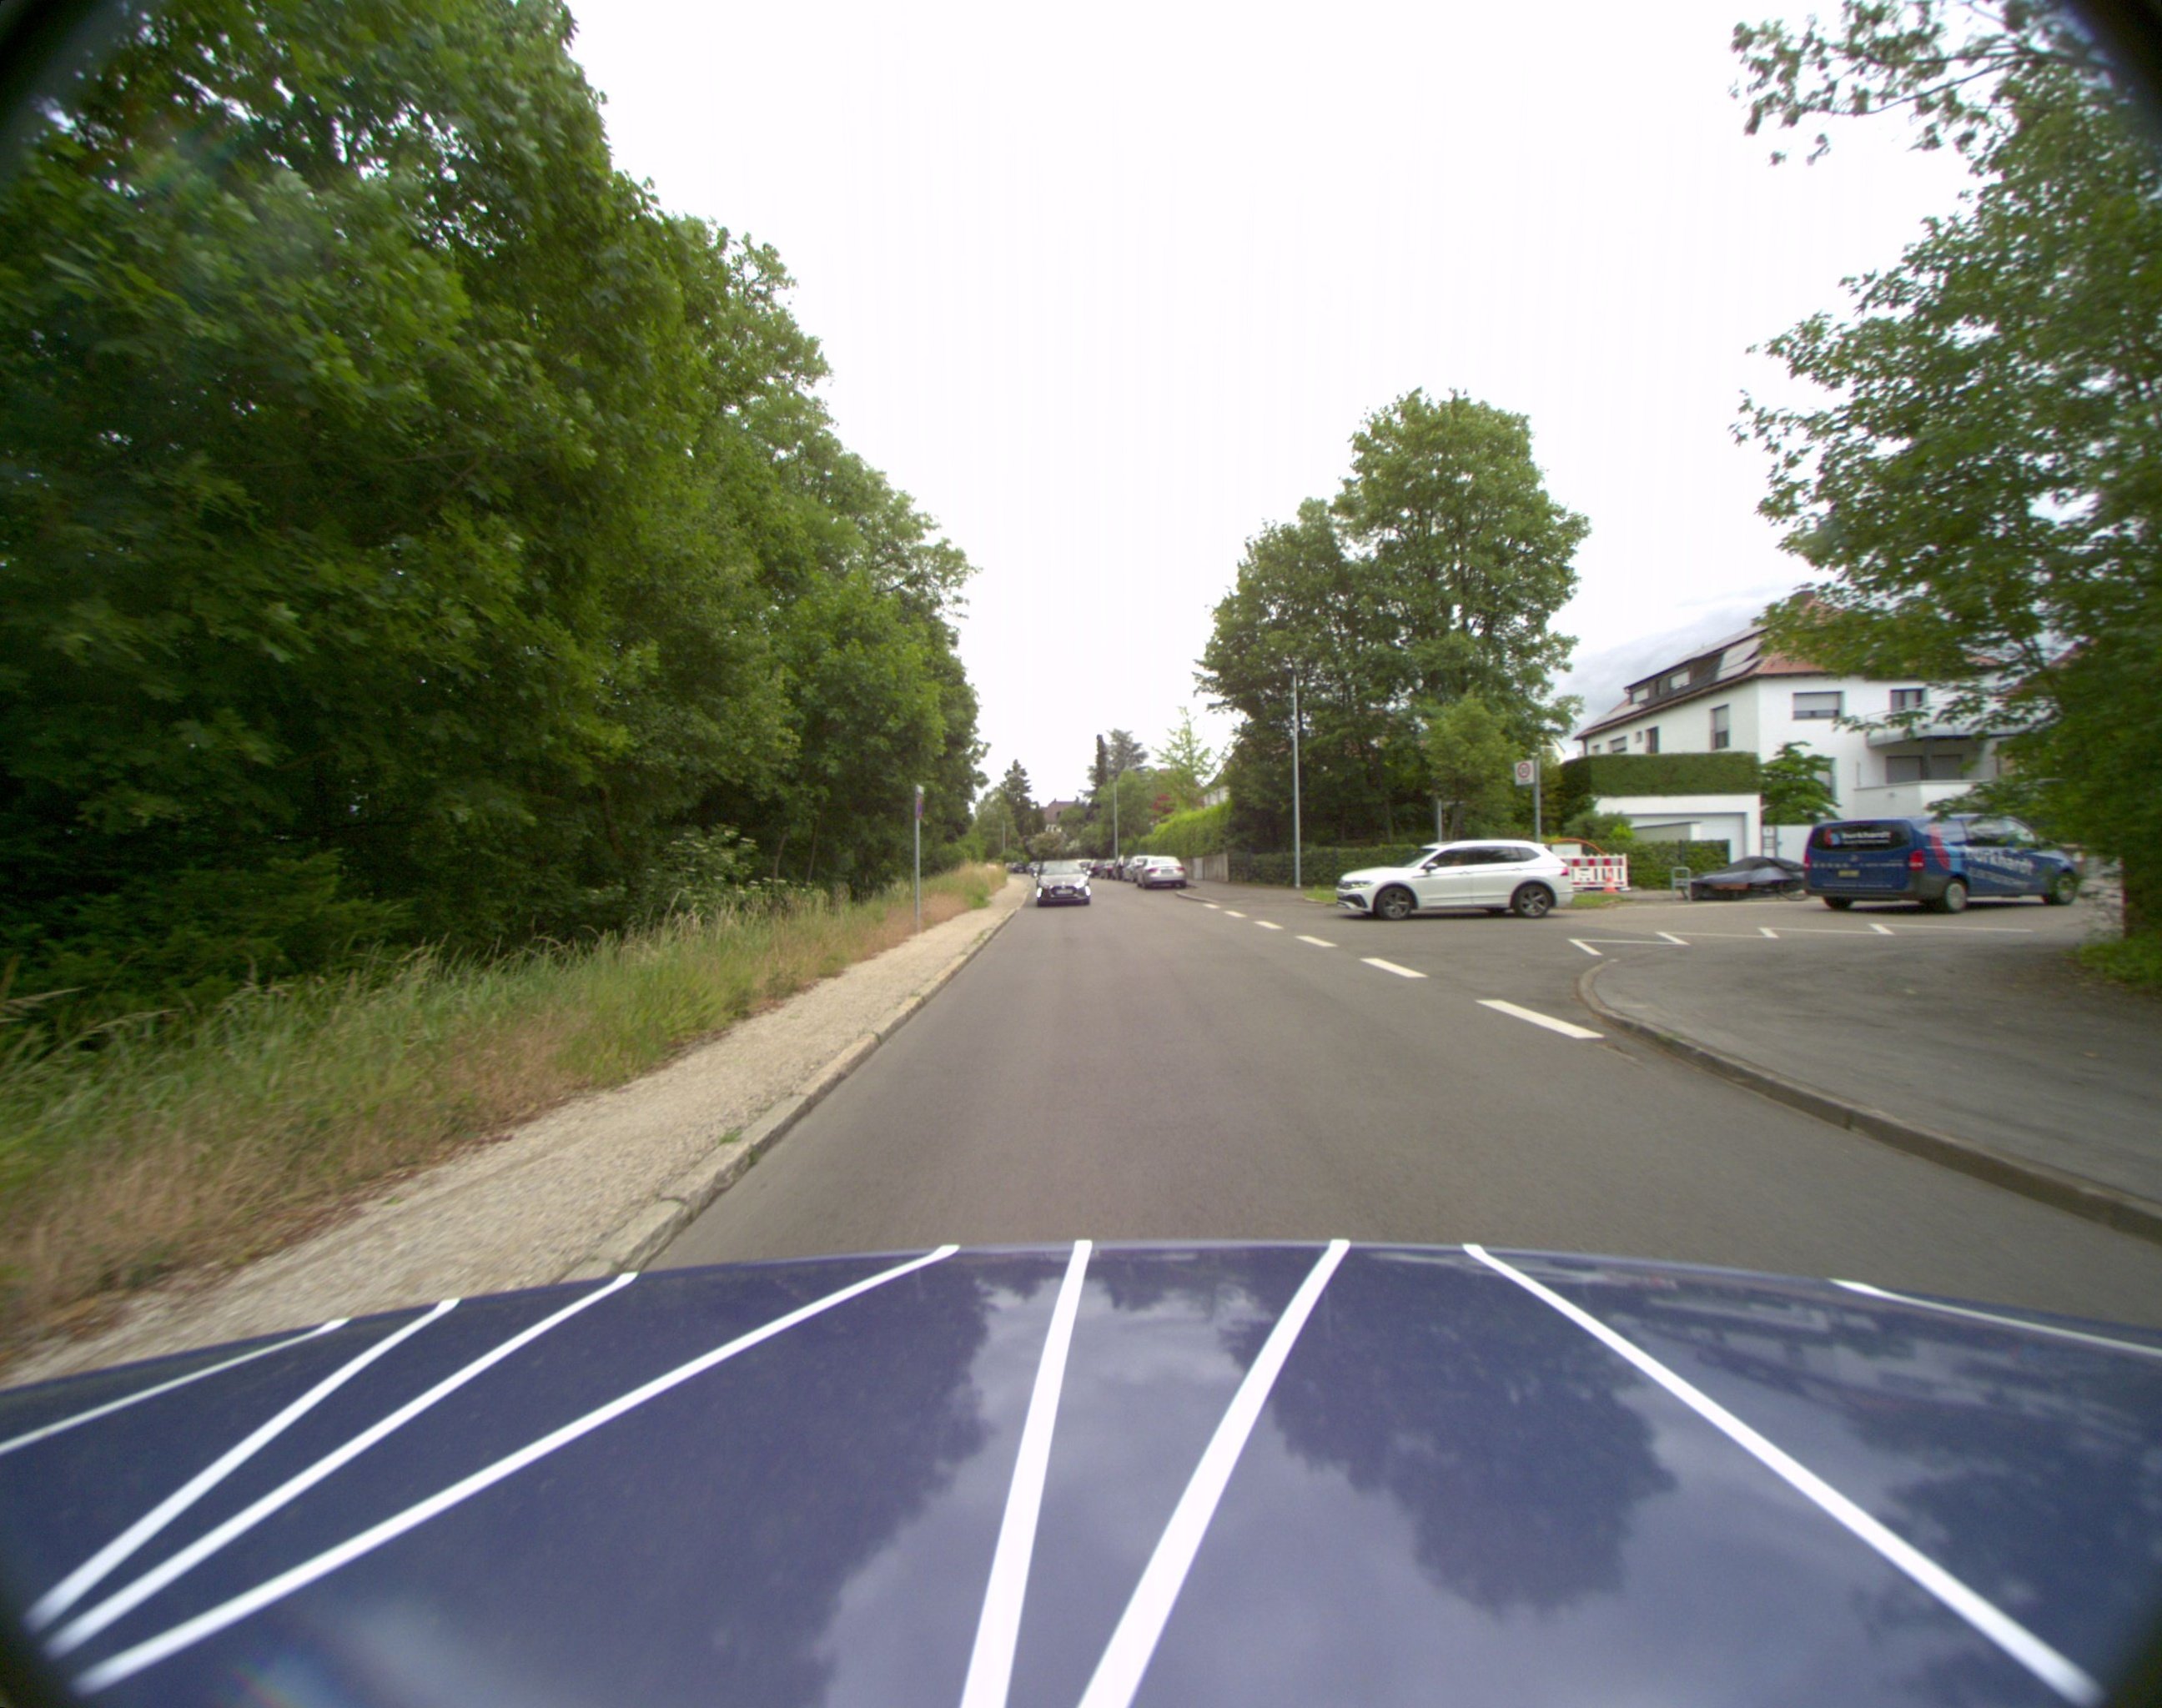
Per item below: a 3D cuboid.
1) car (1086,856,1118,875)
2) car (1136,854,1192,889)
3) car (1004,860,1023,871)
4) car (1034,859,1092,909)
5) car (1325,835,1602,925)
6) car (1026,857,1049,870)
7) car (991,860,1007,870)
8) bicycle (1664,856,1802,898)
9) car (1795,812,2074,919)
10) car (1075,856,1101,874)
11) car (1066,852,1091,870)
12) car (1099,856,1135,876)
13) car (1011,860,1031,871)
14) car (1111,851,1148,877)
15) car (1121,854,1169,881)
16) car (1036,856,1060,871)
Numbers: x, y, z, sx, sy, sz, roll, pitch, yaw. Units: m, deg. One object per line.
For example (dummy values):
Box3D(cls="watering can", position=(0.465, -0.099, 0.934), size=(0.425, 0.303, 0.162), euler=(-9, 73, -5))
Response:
Box3D(cls="car", position=(1.587, 0.895, 59.393), size=(1.724, 1.376, 4.660), euler=(-2, 0, -7))
Box3D(cls="car", position=(3.629, 0.724, 33.825), size=(1.836, 1.366, 4.444), euler=(-3, 0, -2))
Box3D(cls="car", position=(-9.386, 1.598, 105.507), size=(1.713, 1.408, 4.143), euler=(-2, 0, -17))
Box3D(cls="car", position=(-0.527, 0.929, 25.211), size=(1.711, 1.466, 4.195), euler=(-2, 0, 1))
Box3D(cls="car", position=(8.115, 0.533, 16.537), size=(4.947, 1.660, 2.038), euler=(-2, 1, 4))
Box3D(cls="car", position=(-5.125, 1.142, 89.520), size=(1.713, 1.402, 4.154), euler=(-2, 0, -17))
Box3D(cls="car", position=(-12.928, 1.694, 119.989), size=(1.713, 1.502, 3.940), euler=(-2, 0, -17))
Box3D(cls="bicycle", position=(16.460, 0.586, 19.273), size=(2.578, 0.995, 0.654), euler=(-2, 1, 30))
Box3D(cls="car", position=(17.145, 0.188, 15.309), size=(4.533, 1.869, 1.940), euler=(-2, 0, -16))
Box3D(cls="car", position=(0.594, 0.939, 66.286), size=(1.593, 1.505, 3.587), euler=(-2, 0, -10))
Box3D(cls="car", position=(-0.248, 0.650, 71.043), size=(1.549, 1.505, 3.640), euler=(-2, 0, -12))
Box3D(cls="car", position=(2.479, 0.823, 53.291), size=(1.717, 1.333, 4.104), euler=(-3, 0, -9))
Box3D(cls="car", position=(-7.993, 1.525, 101.105), size=(1.713, 1.408, 4.126), euler=(-2, 0, -17))
Box3D(cls="car", position=(2.989, 0.603, 47.896), size=(1.661, 1.524, 4.472), euler=(-3, 0, -4))
Box3D(cls="car", position=(3.454, 0.729, 41.989), size=(1.780, 1.366, 4.338), euler=(-3, 0, -6))
Box3D(cls="car", position=(-3.753, 1.055, 85.053), size=(1.713, 1.505, 4.490), euler=(-2, 0, -14))
